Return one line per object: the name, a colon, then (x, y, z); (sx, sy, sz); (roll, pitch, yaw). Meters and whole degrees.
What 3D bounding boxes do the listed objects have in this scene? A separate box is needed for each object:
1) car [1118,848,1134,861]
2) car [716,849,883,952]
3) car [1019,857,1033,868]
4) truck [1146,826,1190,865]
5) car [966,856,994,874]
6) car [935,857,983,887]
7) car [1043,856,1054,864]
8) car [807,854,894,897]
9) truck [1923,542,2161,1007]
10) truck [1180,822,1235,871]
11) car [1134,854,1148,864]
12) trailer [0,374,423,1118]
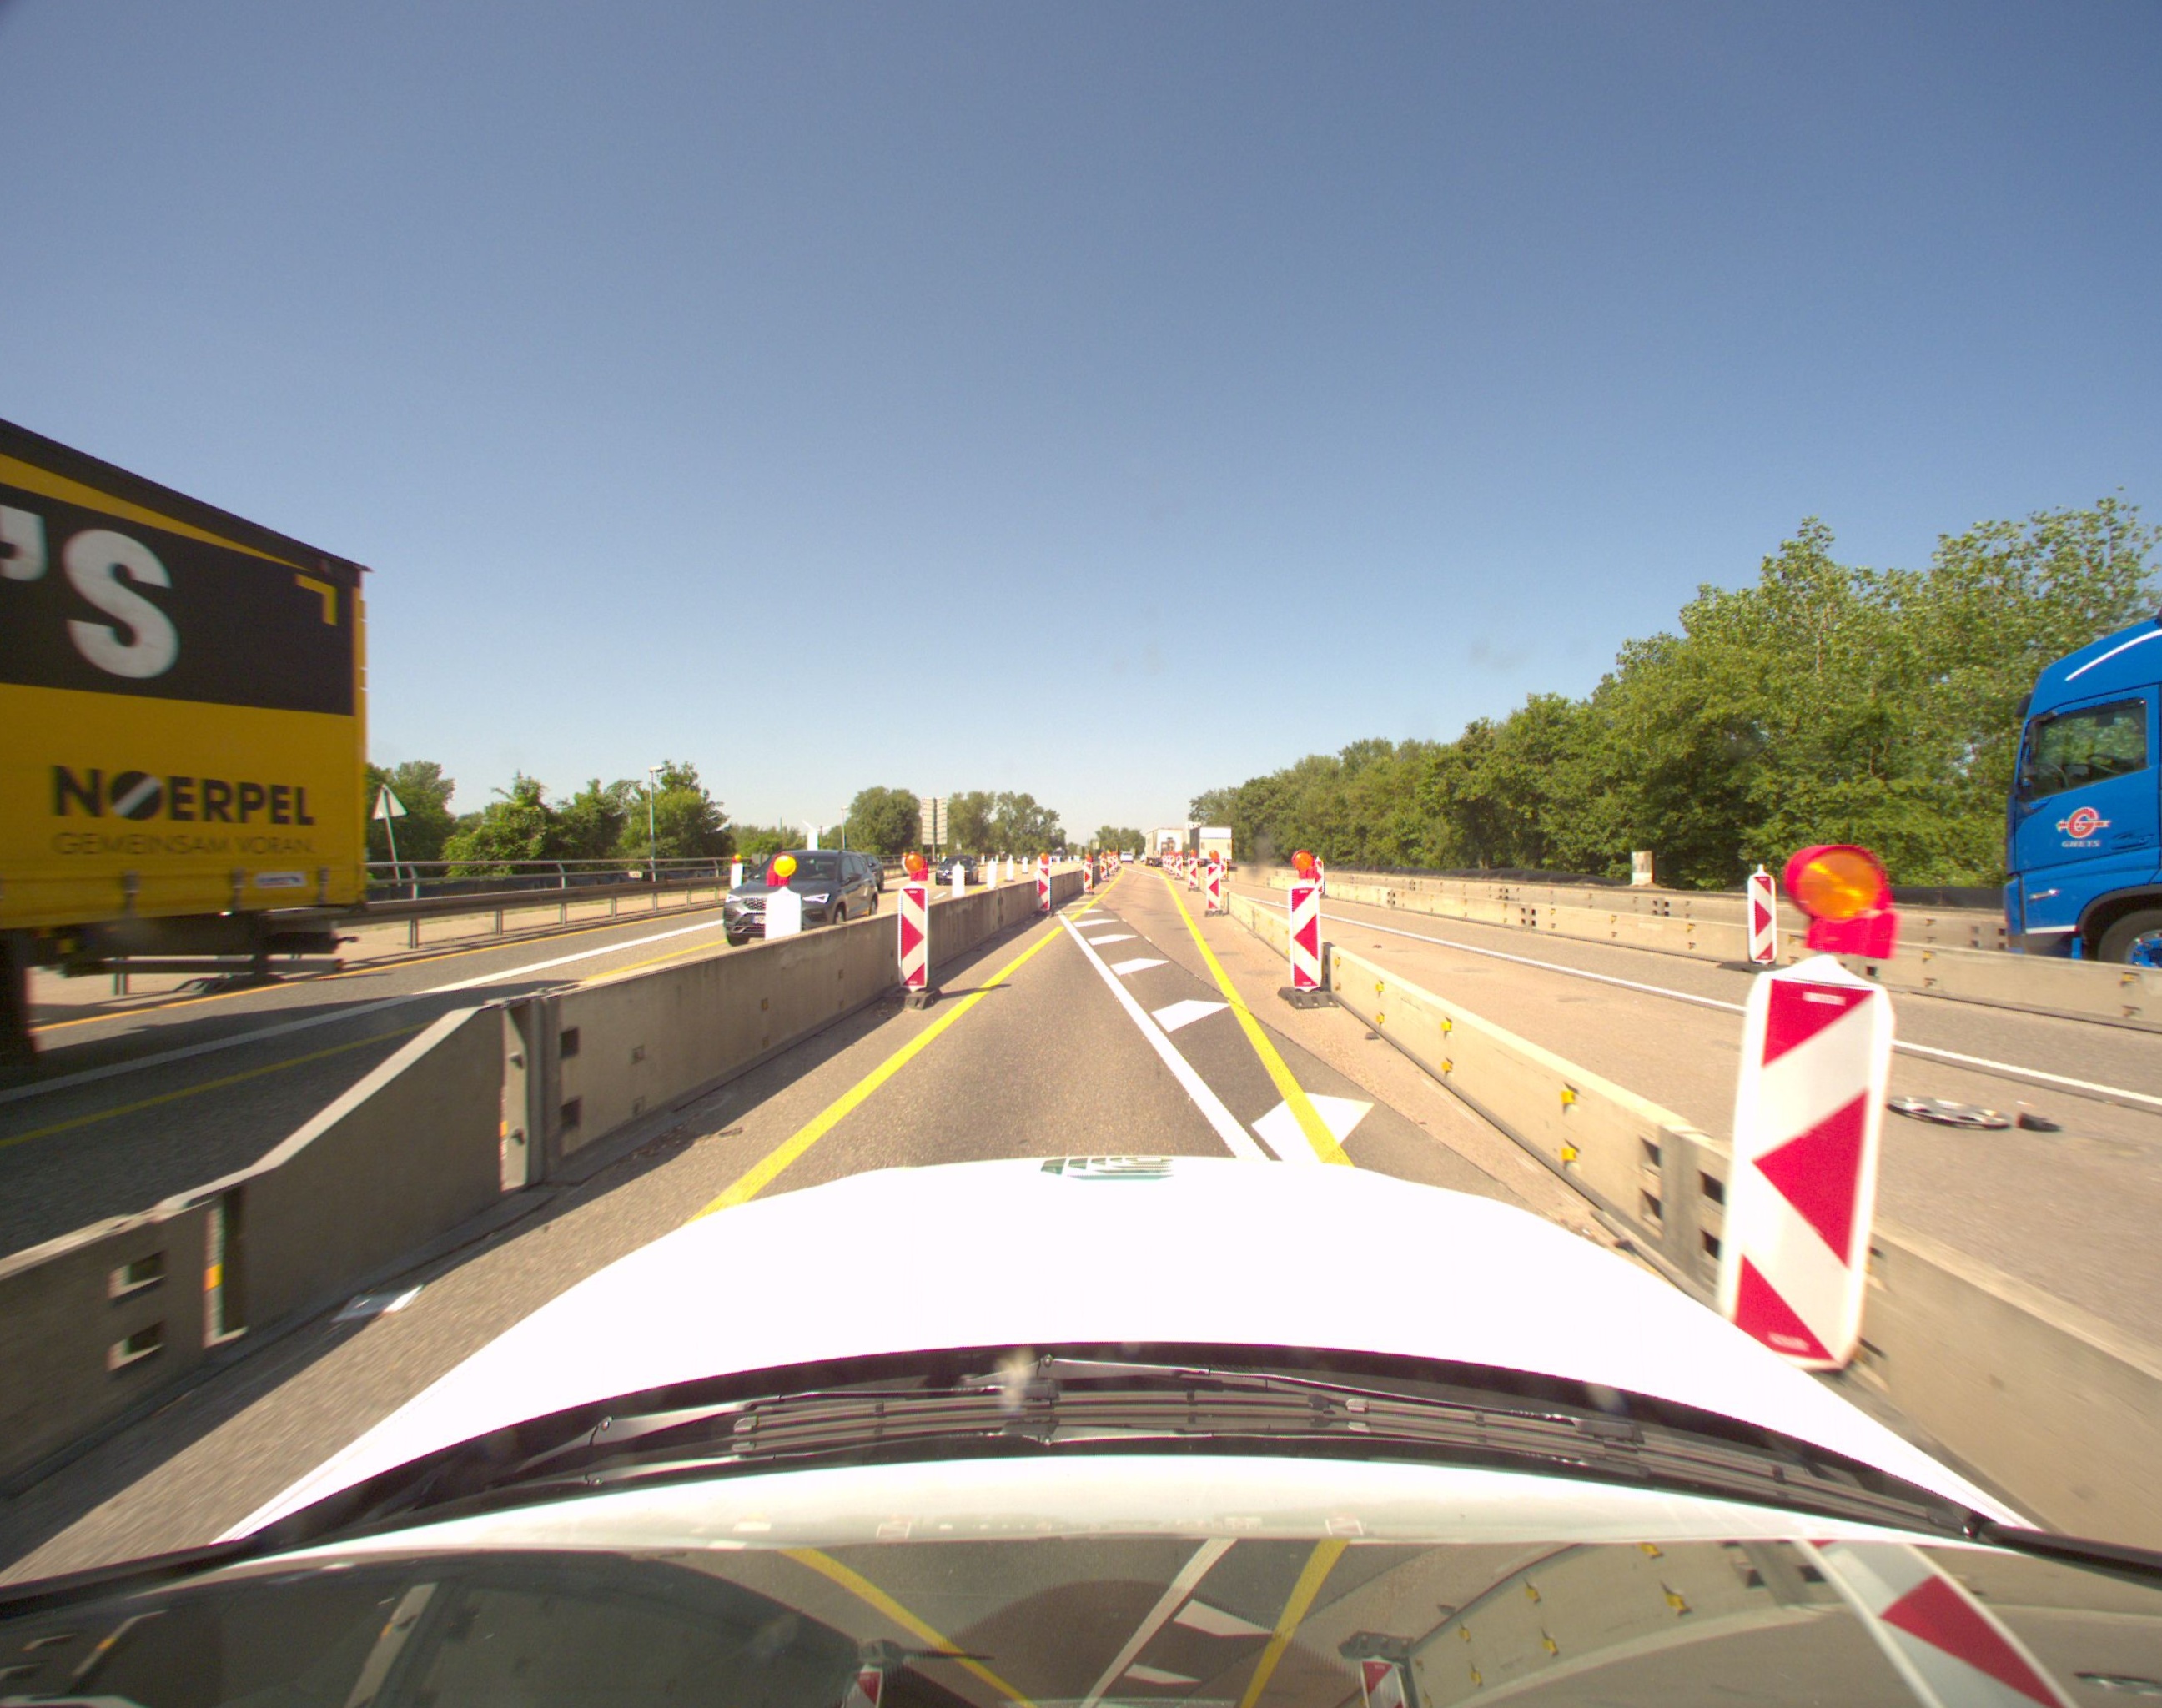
car: (6.384, 0.127, 115.407); (1.812, 1.776, 3.995); (-1, 0, -3)
car: (-4.817, 0.716, 14.518); (1.786, 1.568, 3.868); (-1, 0, -3)
car: (-7.980, 1.224, 117.633); (1.732, 1.476, 4.644); (-1, 0, -1)
truck: (8.968, -0.841, 84.952); (3.381, 3.774, 7.225); (-1, 0, -3)
car: (-8.087, 0.856, 65.482); (1.662, 1.442, 4.995); (0, 0, -1)
car: (-5.941, 0.853, 40.164); (1.683, 1.376, 4.273); (0, 0, 0)
car: (-5.740, 1.078, 142.782); (1.713, 1.397, 4.520); (1, 0, 1)
car: (-8.715, 0.755, 31.164); (1.925, 1.508, 4.470); (0, 0, 1)
truck: (10.990, -0.730, 5.534); (2.688, 4.102, 7.291); (-1, 0, -3)
truck: (9.305, -0.526, 60.734); (2.628, 3.427, 7.225); (0, 0, -3)
car: (10.521, 0.865, 143.257); (1.989, 1.776, 3.995); (-1, 0, -3)
trailer: (-7.172, -0.605, 0.226); (2.754, 4.136, 14.516); (-1, 0, -3)
